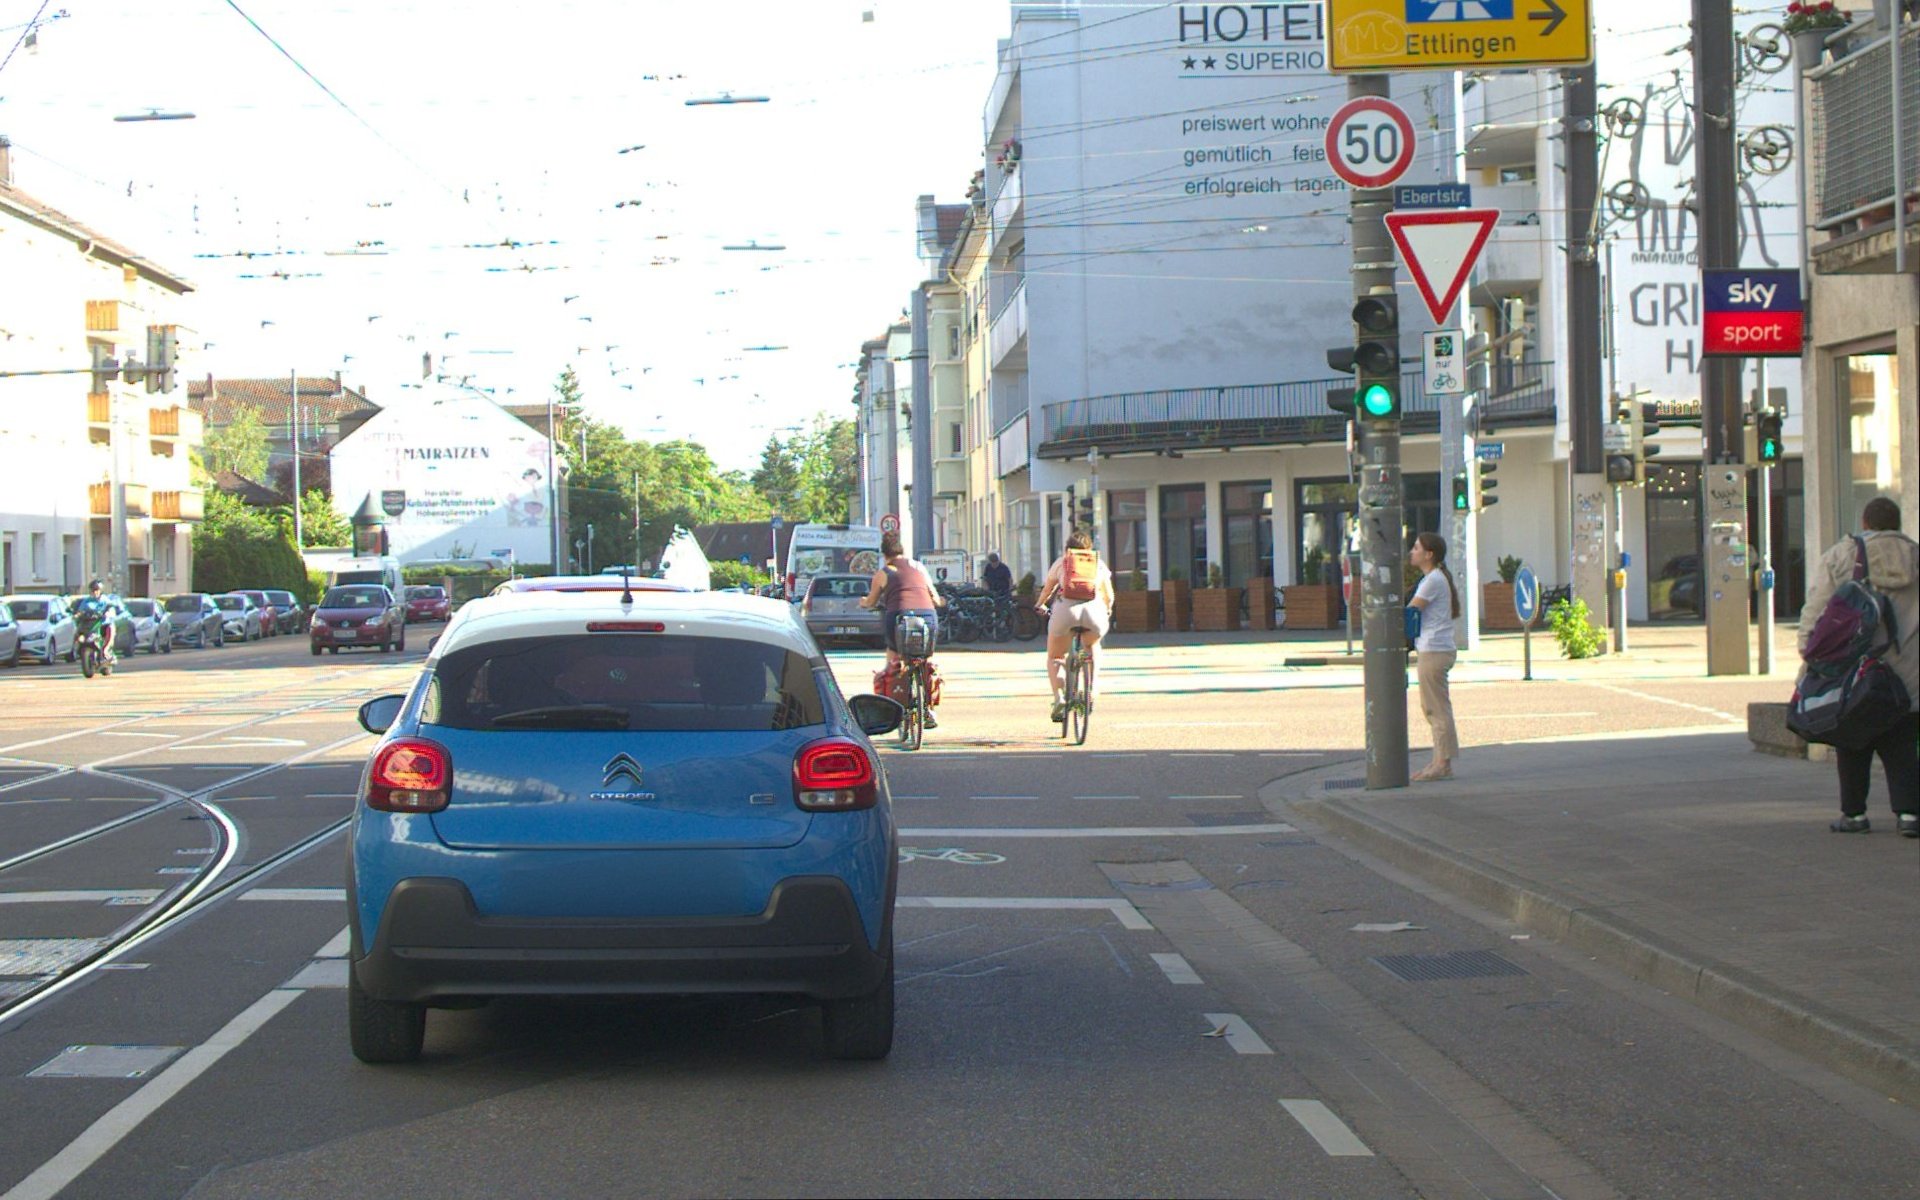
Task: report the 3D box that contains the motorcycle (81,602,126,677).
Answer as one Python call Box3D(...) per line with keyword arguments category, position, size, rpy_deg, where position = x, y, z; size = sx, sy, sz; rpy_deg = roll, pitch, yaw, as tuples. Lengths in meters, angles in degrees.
Box3D(category="motorcycle", position=(-14.473, 0.678, 58.135), size=(0.711, 1.216, 1.966), rpy_deg=(-1, -1, -14))

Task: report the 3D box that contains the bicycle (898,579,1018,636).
Box3D(category="bicycle", position=(-0.043, 0.148, 67.036), size=(2.251, 0.998, 0.856), rpy_deg=(-3, 0, -4))

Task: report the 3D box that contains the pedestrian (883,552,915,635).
Box3D(category="pedestrian", position=(-1.219, -0.130, 68.427), size=(0.613, 1.648, 0.671), rpy_deg=(1, 0, 0))

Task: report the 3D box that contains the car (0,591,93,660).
Box3D(category="car", position=(-21.163, 0.555, 78.661), size=(1.741, 1.521, 4.230), rpy_deg=(1, 0, -2))

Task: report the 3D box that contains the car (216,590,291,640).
Box3D(category="car", position=(-22.958, 0.474, 111.765), size=(1.869, 1.571, 4.001), rpy_deg=(1, 0, -4))

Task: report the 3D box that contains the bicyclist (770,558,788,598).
Box3D(category="bicyclist", position=(-9.263, -1.116, 175.832), size=(0.791, 2.018, 0.986), rpy_deg=(1, 0, 2))

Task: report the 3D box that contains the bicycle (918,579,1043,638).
Box3D(category="bicycle", position=(0.372, 0.161, 64.545), size=(2.251, 0.998, 0.856), rpy_deg=(-3, 0, -4))

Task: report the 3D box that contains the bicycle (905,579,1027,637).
Box3D(category="bicycle", position=(0.116, 0.146, 65.919), size=(2.251, 0.998, 0.856), rpy_deg=(-3, 0, -4))

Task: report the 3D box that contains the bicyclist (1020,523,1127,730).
Box3D(category="bicyclist", position=(0.953, 0.215, 28.666), size=(0.811, 1.686, 0.935), rpy_deg=(1, 0, 5))

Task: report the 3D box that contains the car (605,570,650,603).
Box3D(category="car", position=(-18.035, -0.720, 186.662), size=(2.074, 1.756, 5.037), rpy_deg=(1, 0, -2))

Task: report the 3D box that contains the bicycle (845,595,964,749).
Box3D(category="bicycle", position=(-0.447, 0.574, 28.473), size=(0.940, 1.219, 2.094), rpy_deg=(1, 0, 0))

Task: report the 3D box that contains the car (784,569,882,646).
Box3D(category="car", position=(-2.487, 0.140, 66.541), size=(1.657, 1.426, 3.889), rpy_deg=(1, 0, -5))

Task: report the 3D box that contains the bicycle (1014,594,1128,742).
Box3D(category="bicycle", position=(0.940, 0.546, 28.584), size=(0.811, 1.177, 2.063), rpy_deg=(1, 0, 5))

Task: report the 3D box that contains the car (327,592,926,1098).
Box3D(category="car", position=(-1.253, 0.701, 11.847), size=(1.736, 1.447, 3.663), rpy_deg=(0, 0, -9))

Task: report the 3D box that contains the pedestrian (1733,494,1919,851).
Box3D(category="pedestrian", position=(4.228, 0.317, 16.092), size=(0.884, 1.586, 0.811), rpy_deg=(-4, 1, -7))

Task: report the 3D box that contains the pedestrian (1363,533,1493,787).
Box3D(category="pedestrian", position=(3.104, 0.390, 22.748), size=(0.540, 1.618, 0.732), rpy_deg=(-6, -2, 23))

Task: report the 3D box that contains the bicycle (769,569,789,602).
Box3D(category="bicycle", position=(-9.268, -0.742, 175.830), size=(0.791, 1.664, 2.229), rpy_deg=(1, 0, 2))

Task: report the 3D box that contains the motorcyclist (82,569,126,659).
Box3D(category="motorcyclist", position=(-14.475, 0.241, 58.139), size=(0.693, 1.491, 0.684), rpy_deg=(-1, -1, -14))

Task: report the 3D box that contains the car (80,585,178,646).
Box3D(category="car", position=(-22.058, 0.404, 91.376), size=(1.869, 1.571, 4.001), rpy_deg=(1, 0, -4))

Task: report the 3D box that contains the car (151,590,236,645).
Box3D(category="car", position=(-22.635, 0.497, 101.591), size=(1.869, 1.571, 4.001), rpy_deg=(1, 0, -4))

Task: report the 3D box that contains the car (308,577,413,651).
Box3D(category="car", position=(-12.735, 0.285, 73.183), size=(1.778, 1.481, 3.829), rpy_deg=(-2, 0, -4))

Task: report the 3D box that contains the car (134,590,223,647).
Box3D(category="car", position=(-22.121, 0.511, 97.440), size=(1.869, 1.571, 4.001), rpy_deg=(1, 0, -4))

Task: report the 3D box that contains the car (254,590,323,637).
Box3D(category="car", position=(-23.072, 0.461, 118.197), size=(1.869, 1.571, 4.001), rpy_deg=(1, 0, -4))

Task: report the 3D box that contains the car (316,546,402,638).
Box3D(category="car", position=(-20.889, -0.274, 119.631), size=(2.417, 3.131, 3.489), rpy_deg=(1, 0, -2))

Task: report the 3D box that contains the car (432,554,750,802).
Box3D(category="car", position=(-2.585, 0.470, 23.383), size=(1.784, 1.516, 3.763), rpy_deg=(1, 1, -12))

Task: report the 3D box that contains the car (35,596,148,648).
Box3D(category="car", position=(-21.497, 0.534, 85.245), size=(1.946, 1.235, 4.283), rpy_deg=(1, 0, -3))

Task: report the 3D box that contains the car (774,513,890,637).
Box3D(category="car", position=(-2.710, -0.514, 71.622), size=(2.265, 2.473, 5.009), rpy_deg=(0, 0, -4))

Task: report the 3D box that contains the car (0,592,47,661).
Box3D(category="car", position=(-21.073, 0.553, 73.777), size=(1.903, 1.432, 4.103), rpy_deg=(1, 0, -1))

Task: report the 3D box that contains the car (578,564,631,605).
Box3D(category="car", position=(-17.472, -0.755, 169.185), size=(2.218, 1.925, 4.950), rpy_deg=(1, 0, -2))

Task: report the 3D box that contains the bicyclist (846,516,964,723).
Box3D(category="bicyclist", position=(-0.447, 0.158, 28.490), size=(0.940, 1.667, 1.079), rpy_deg=(1, 0, 0))
